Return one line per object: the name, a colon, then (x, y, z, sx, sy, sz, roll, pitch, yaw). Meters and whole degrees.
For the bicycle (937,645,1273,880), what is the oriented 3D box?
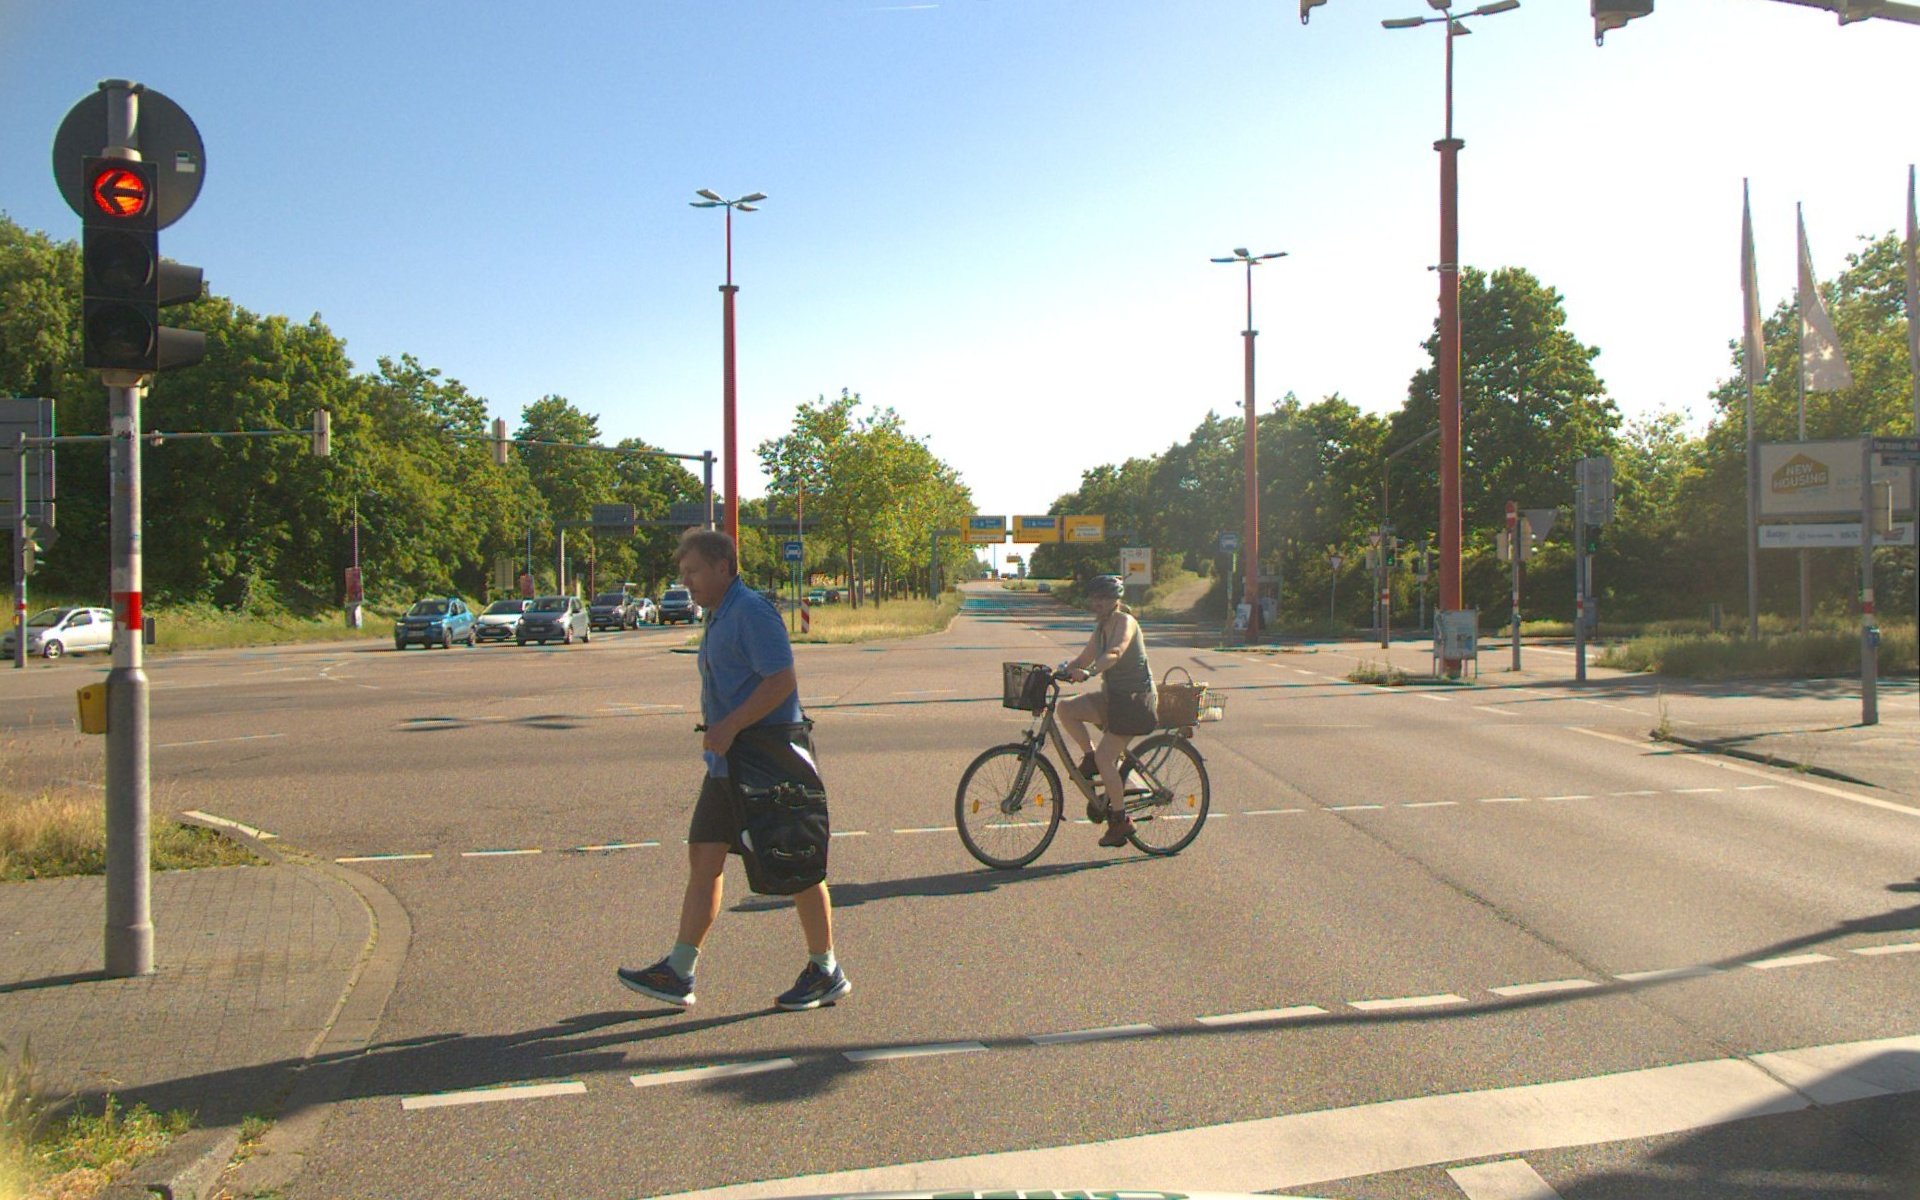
bicycle: (0.871, 0.904, 9.748, 1.920, 1.216, 0.686, 0, 0, -29)

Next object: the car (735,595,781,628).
car: (-9.614, 0.537, 79.012, 1.782, 1.534, 3.999, 0, 0, -1)

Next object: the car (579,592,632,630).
car: (-15.893, 0.489, 74.264, 1.704, 1.640, 3.611, 0, 0, -2)

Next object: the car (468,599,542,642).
car: (-16.060, 0.696, 58.510, 1.704, 1.436, 3.611, 0, 0, -2)

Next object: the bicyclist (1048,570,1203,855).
bicyclist: (0.972, 0.635, 9.806, 0.653, 1.612, 0.666, 0, 0, -28)

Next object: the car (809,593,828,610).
car: (-14.283, 0.129, 167.101, 1.761, 1.668, 3.998, -1, 0, -2)

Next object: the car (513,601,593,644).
car: (-12.669, 0.669, 51.697, 1.704, 1.265, 3.611, 0, 0, -2)

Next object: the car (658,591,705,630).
car: (-15.238, 0.534, 90.749, 1.855, 2.061, 5.221, 0, 0, -2)

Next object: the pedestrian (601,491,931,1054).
pedestrian: (-0.728, 0.556, 6.000, 0.971, 1.825, 0.948, 0, 0, -23)

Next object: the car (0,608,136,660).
car: (-26.454, 0.967, 48.629, 1.713, 1.422, 4.003, 0, 0, 16)

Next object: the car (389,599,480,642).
car: (-16.050, 0.611, 50.676, 1.704, 1.265, 3.611, 0, 0, -2)

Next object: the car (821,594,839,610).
car: (-14.163, 0.225, 180.448, 1.782, 1.657, 3.999, 0, 0, -1)
